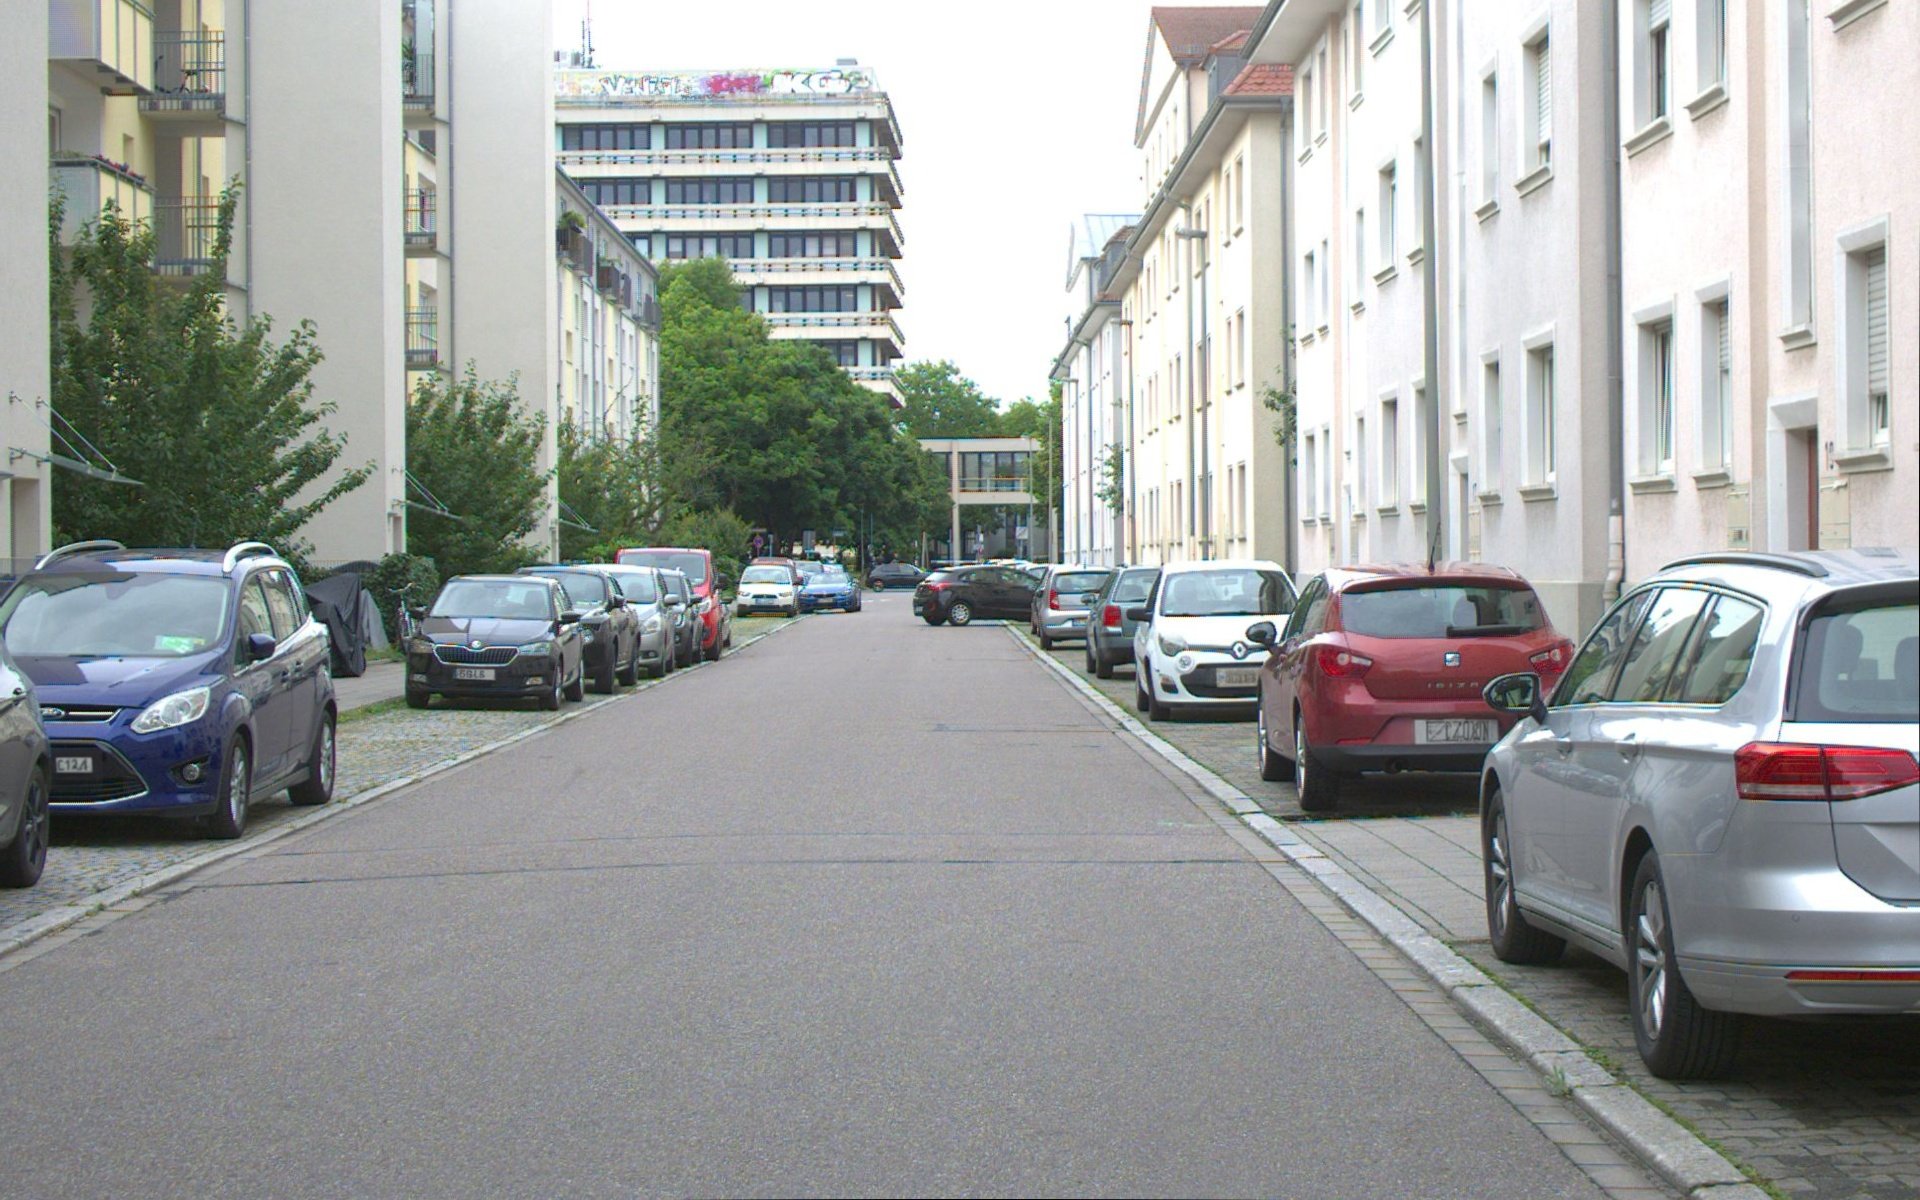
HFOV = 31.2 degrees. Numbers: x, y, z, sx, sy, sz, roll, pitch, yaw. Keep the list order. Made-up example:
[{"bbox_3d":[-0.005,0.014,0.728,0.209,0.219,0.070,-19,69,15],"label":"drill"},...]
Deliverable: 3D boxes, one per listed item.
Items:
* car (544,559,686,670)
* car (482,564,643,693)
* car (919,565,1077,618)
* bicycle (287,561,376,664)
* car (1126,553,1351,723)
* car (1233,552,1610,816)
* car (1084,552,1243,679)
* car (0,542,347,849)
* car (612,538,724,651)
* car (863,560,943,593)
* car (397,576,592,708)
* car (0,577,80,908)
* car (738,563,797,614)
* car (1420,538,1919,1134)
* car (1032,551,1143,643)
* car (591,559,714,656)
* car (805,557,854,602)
[{"bbox_3d":[-5.002,0.174,50.329,1.671,1.520,4.253,0,1,0],"label":"car"},{"bbox_3d":[-5.084,0.329,44.360,1.671,1.558,3.664,0,1,0],"label":"car"},{"bbox_3d":[0.912,-0.210,81.843,3.729,1.210,1.544,0,1,1],"label":"car"},{"bbox_3d":[-8.071,0.145,44.192,0.871,1.284,1.893,0,1,-3],"label":"bicycle"},{"bbox_3d":[2.609,0.319,32.947,1.819,1.499,3.752,0,1,0],"label":"car"},{"bbox_3d":[2.758,0.444,21.356,1.670,1.415,4.000,-2,1,-1],"label":"car"},{"bbox_3d":[2.624,0.166,45.054,1.819,1.571,3.752,0,1,0],"label":"car"},{"bbox_3d":[-4.888,0.478,20.667,1.769,1.637,4.355,0,1,-2],"label":"car"},{"bbox_3d":[-5.117,-0.126,60.584,1.671,1.931,3.742,0,1,0],"label":"car"},{"bbox_3d":[-2.865,-1.211,174.430,3.987,1.481,2.000,2,1,0],"label":"car"},{"bbox_3d":[-5.136,0.429,38.329,1.671,1.347,3.817,0,1,0],"label":"car"},{"bbox_3d":[-5.171,0.650,14.750,1.830,1.454,4.260,0,1,-2],"label":"car"},{"bbox_3d":[-5.665,-0.361,101.464,1.539,1.445,3.742,0,1,0],"label":"car"},{"bbox_3d":[2.693,0.545,10.756,1.755,1.462,4.601,0,1,-2],"label":"car"},{"bbox_3d":[2.260,-0.083,61.808,1.819,1.571,3.884,0,1,0],"label":"car"},{"bbox_3d":[-4.944,0.099,55.703,1.671,1.482,3.742,0,1,0],"label":"car"},{"bbox_3d":[-4.268,-0.670,112.207,1.539,1.445,3.742,0,1,-3],"label":"car"}]
